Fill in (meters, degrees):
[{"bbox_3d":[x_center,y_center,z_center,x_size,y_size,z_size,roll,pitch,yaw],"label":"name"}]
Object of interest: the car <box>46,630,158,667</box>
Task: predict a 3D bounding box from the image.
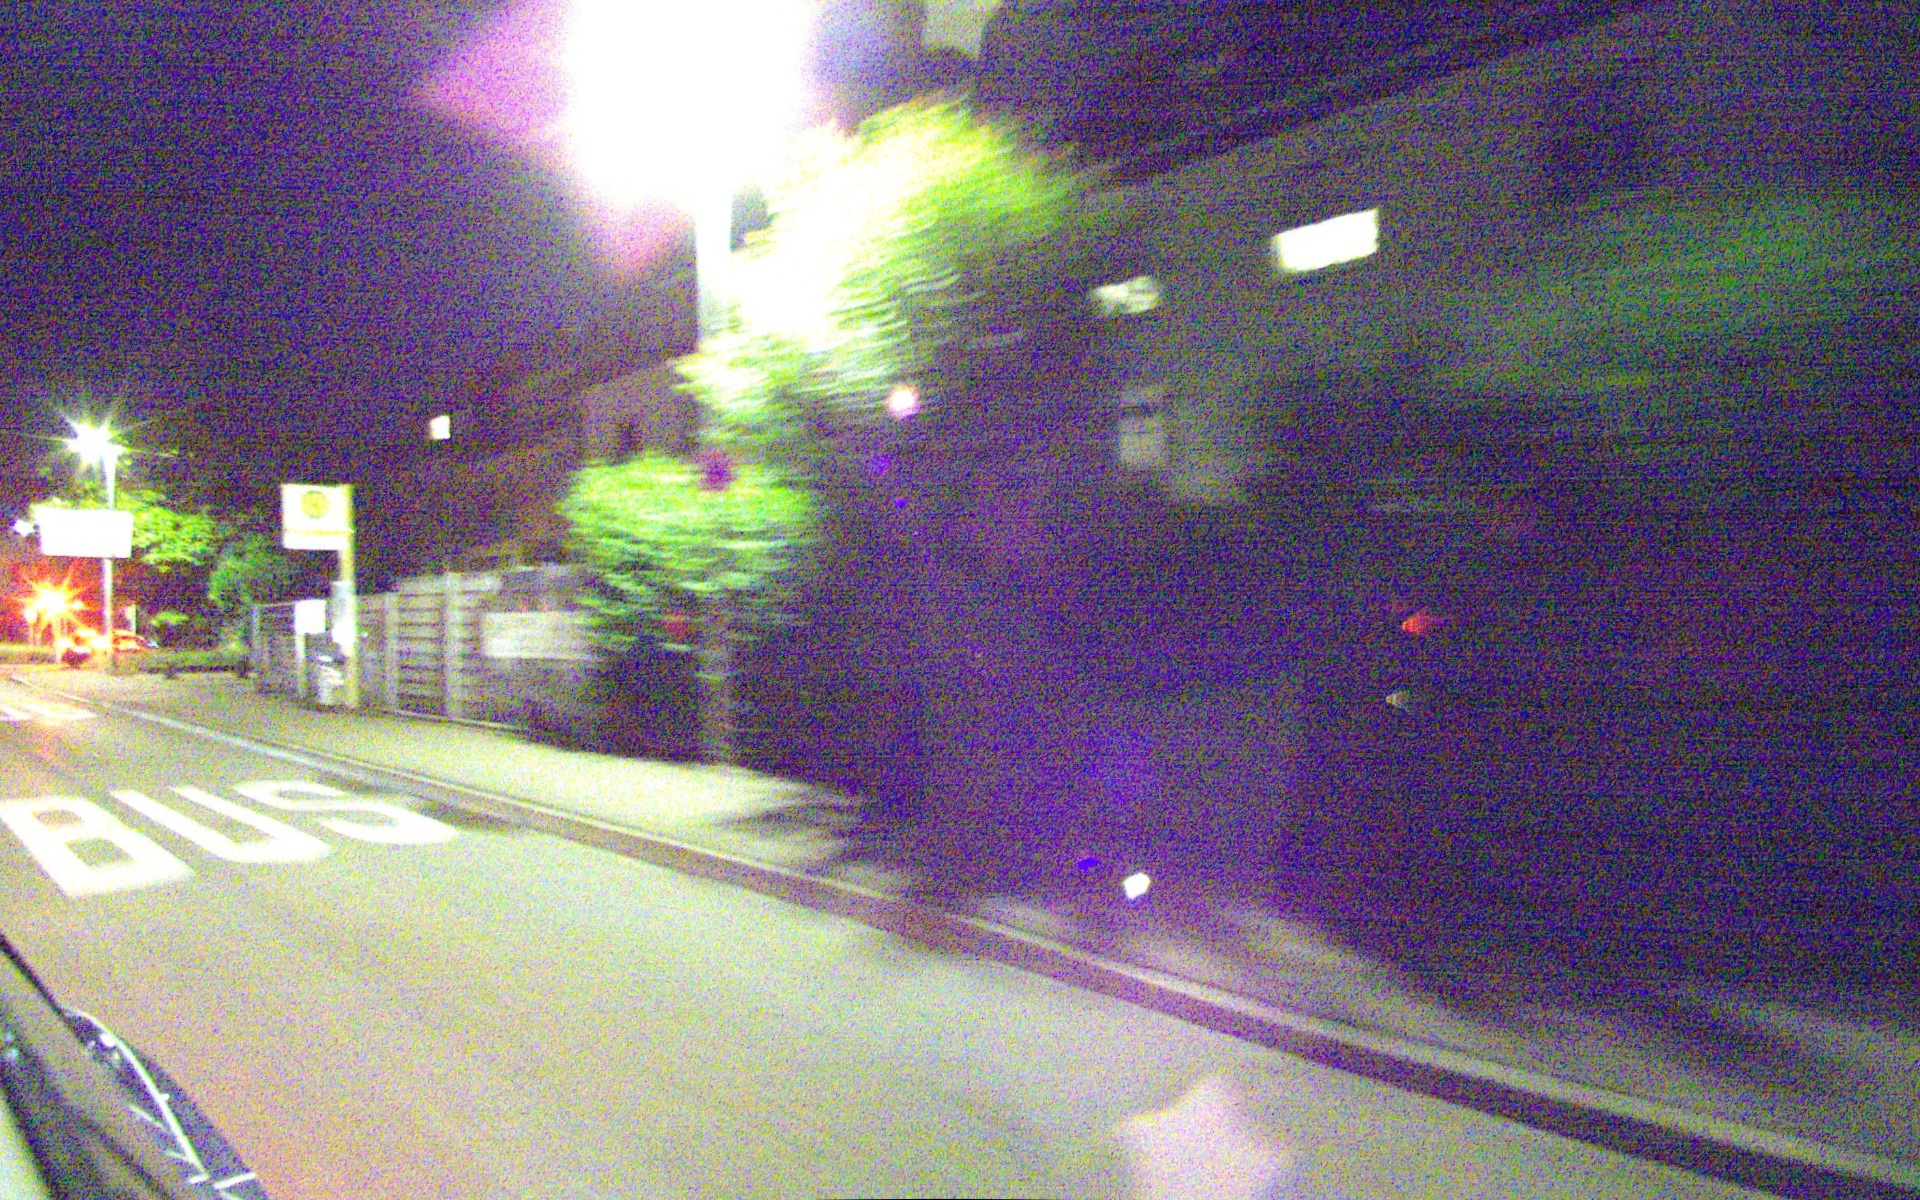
[{"bbox_3d":[-35.272,1.969,41.732,1.703,1.441,4.300,-1,-2,-12],"label":"car"}]
